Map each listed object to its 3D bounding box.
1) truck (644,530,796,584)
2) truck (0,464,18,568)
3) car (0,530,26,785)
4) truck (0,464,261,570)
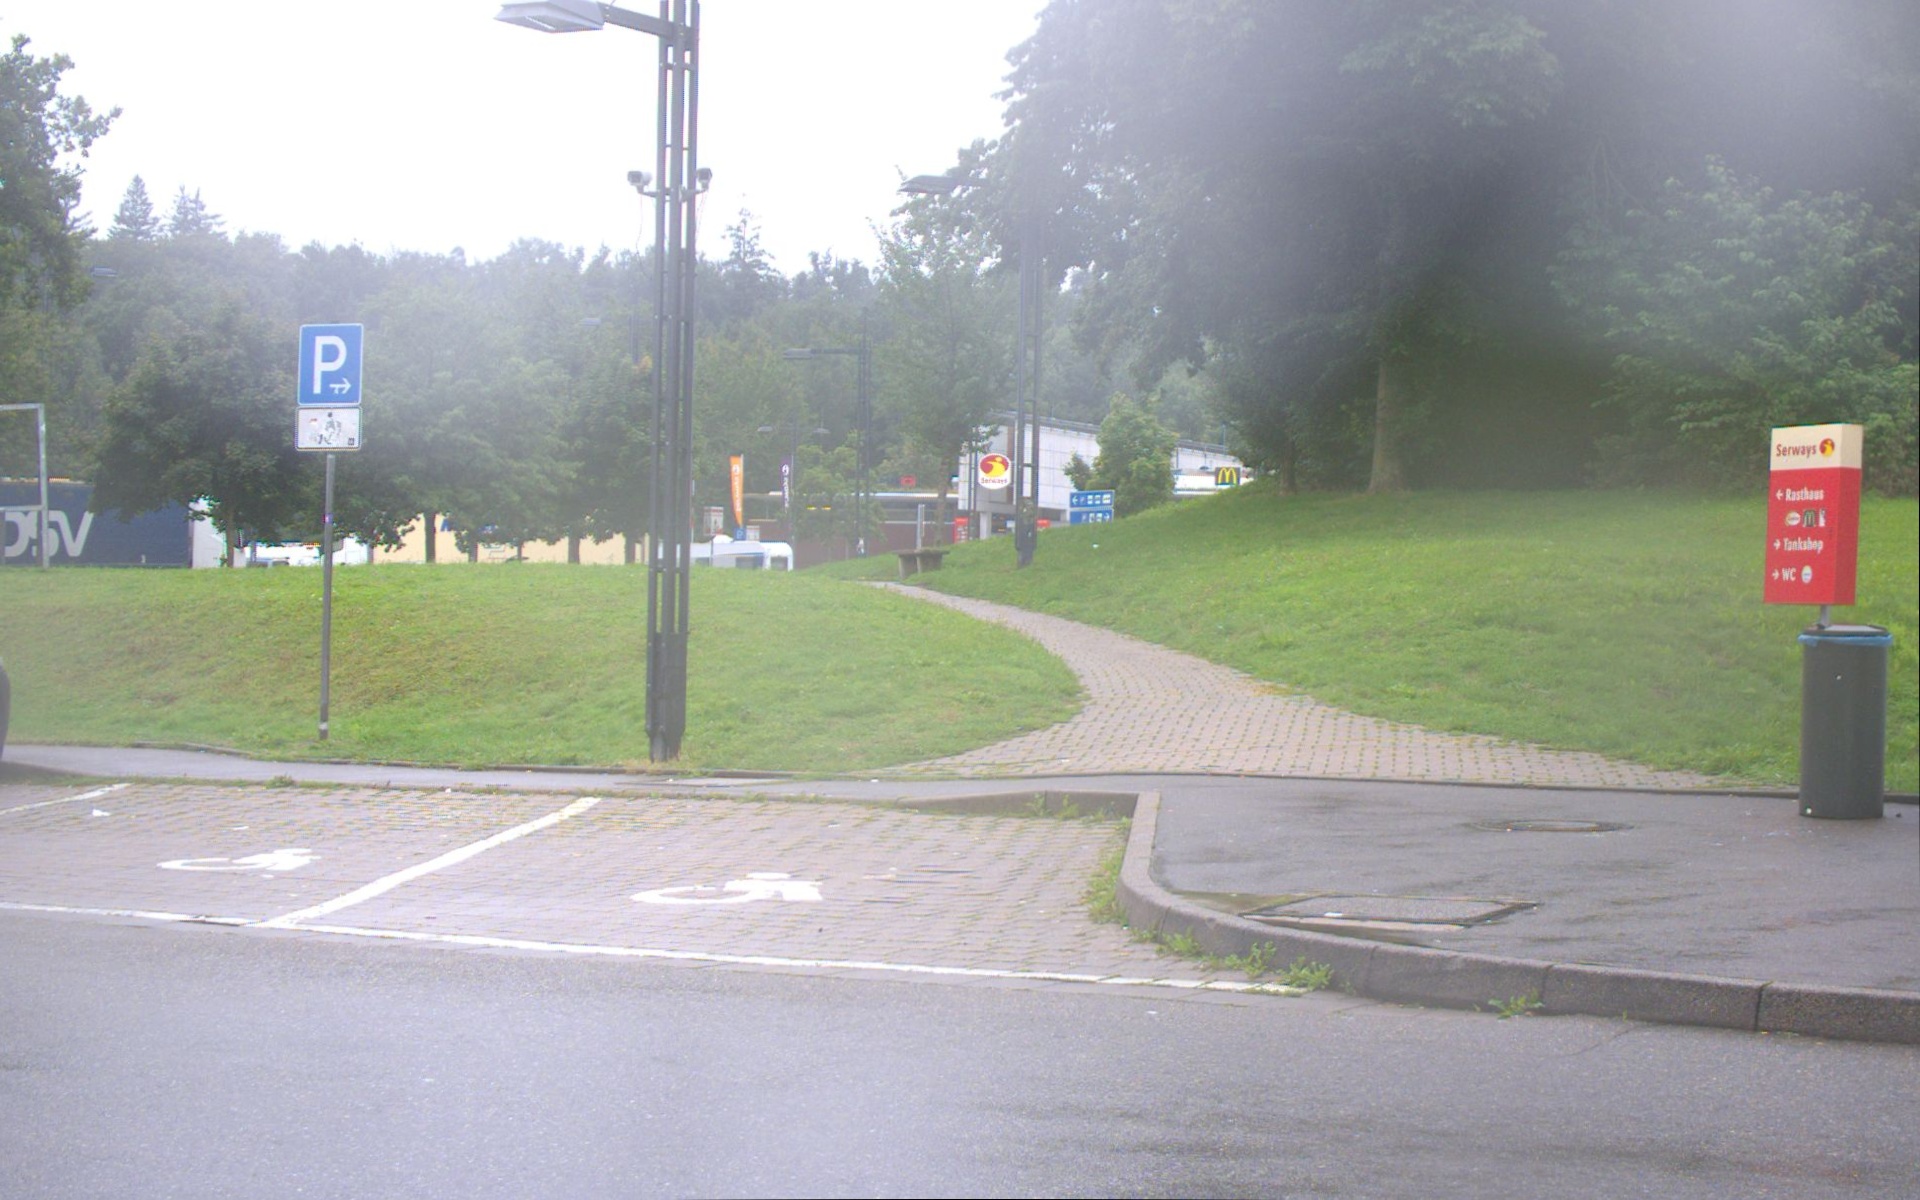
[{"bbox_3d":[-9.342,-1.671,133.812,5.413,2.007,2.364,1,1,25],"label":"truck"},{"bbox_3d":[-28.614,-2.351,94.663,2.189,2.910,5.380,1,1,24],"label":"truck"},{"bbox_3d":[-7.807,0.450,21.497,2.018,1.705,4.341,-1,1,12],"label":"car"},{"bbox_3d":[-25.476,-2.376,101.633,2.188,2.910,13.082,1,1,24],"label":"truck"}]
